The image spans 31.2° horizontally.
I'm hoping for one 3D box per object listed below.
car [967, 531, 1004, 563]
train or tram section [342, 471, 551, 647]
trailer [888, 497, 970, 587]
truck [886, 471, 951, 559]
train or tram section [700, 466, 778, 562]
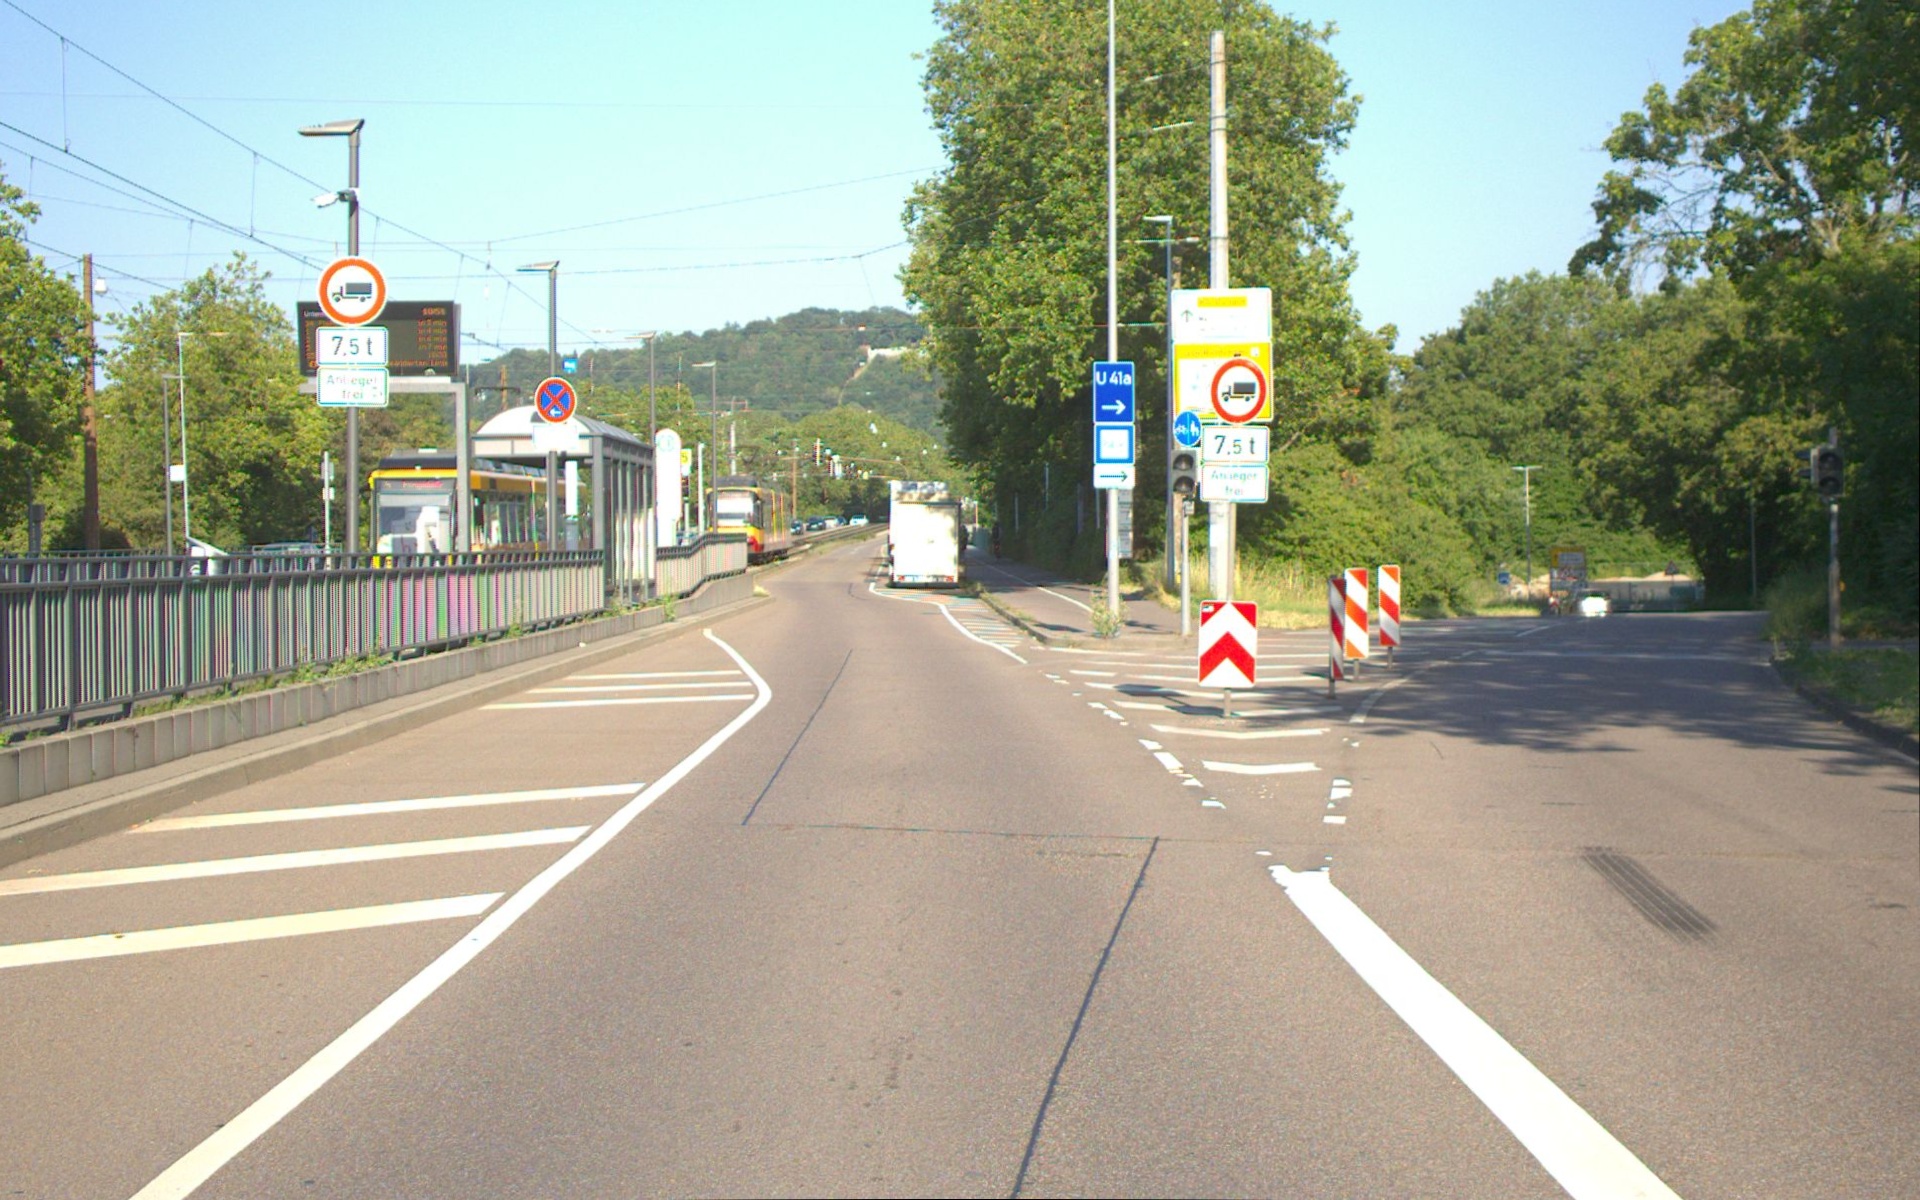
[{"bbox_3d":[1.177,-2.423,156.065,1.653,1.432,3.777,0,1,1],"label":"car"},{"bbox_3d":[-12.664,-1.079,86.397,2.827,3.992,15.875,1,1,0],"label":"train or tram section"},{"bbox_3d":[-0.932,-1.819,106.806,2.251,2.685,5.947,0,1,2],"label":"trailer"},{"bbox_3d":[-1.916,-3.797,154.537,2.742,3.770,10.090,1,1,-1],"label":"truck"},{"bbox_3d":[-9.914,-3.880,155.587,2.721,4.077,13.616,-1,1,-1],"label":"train or tram section"}]
